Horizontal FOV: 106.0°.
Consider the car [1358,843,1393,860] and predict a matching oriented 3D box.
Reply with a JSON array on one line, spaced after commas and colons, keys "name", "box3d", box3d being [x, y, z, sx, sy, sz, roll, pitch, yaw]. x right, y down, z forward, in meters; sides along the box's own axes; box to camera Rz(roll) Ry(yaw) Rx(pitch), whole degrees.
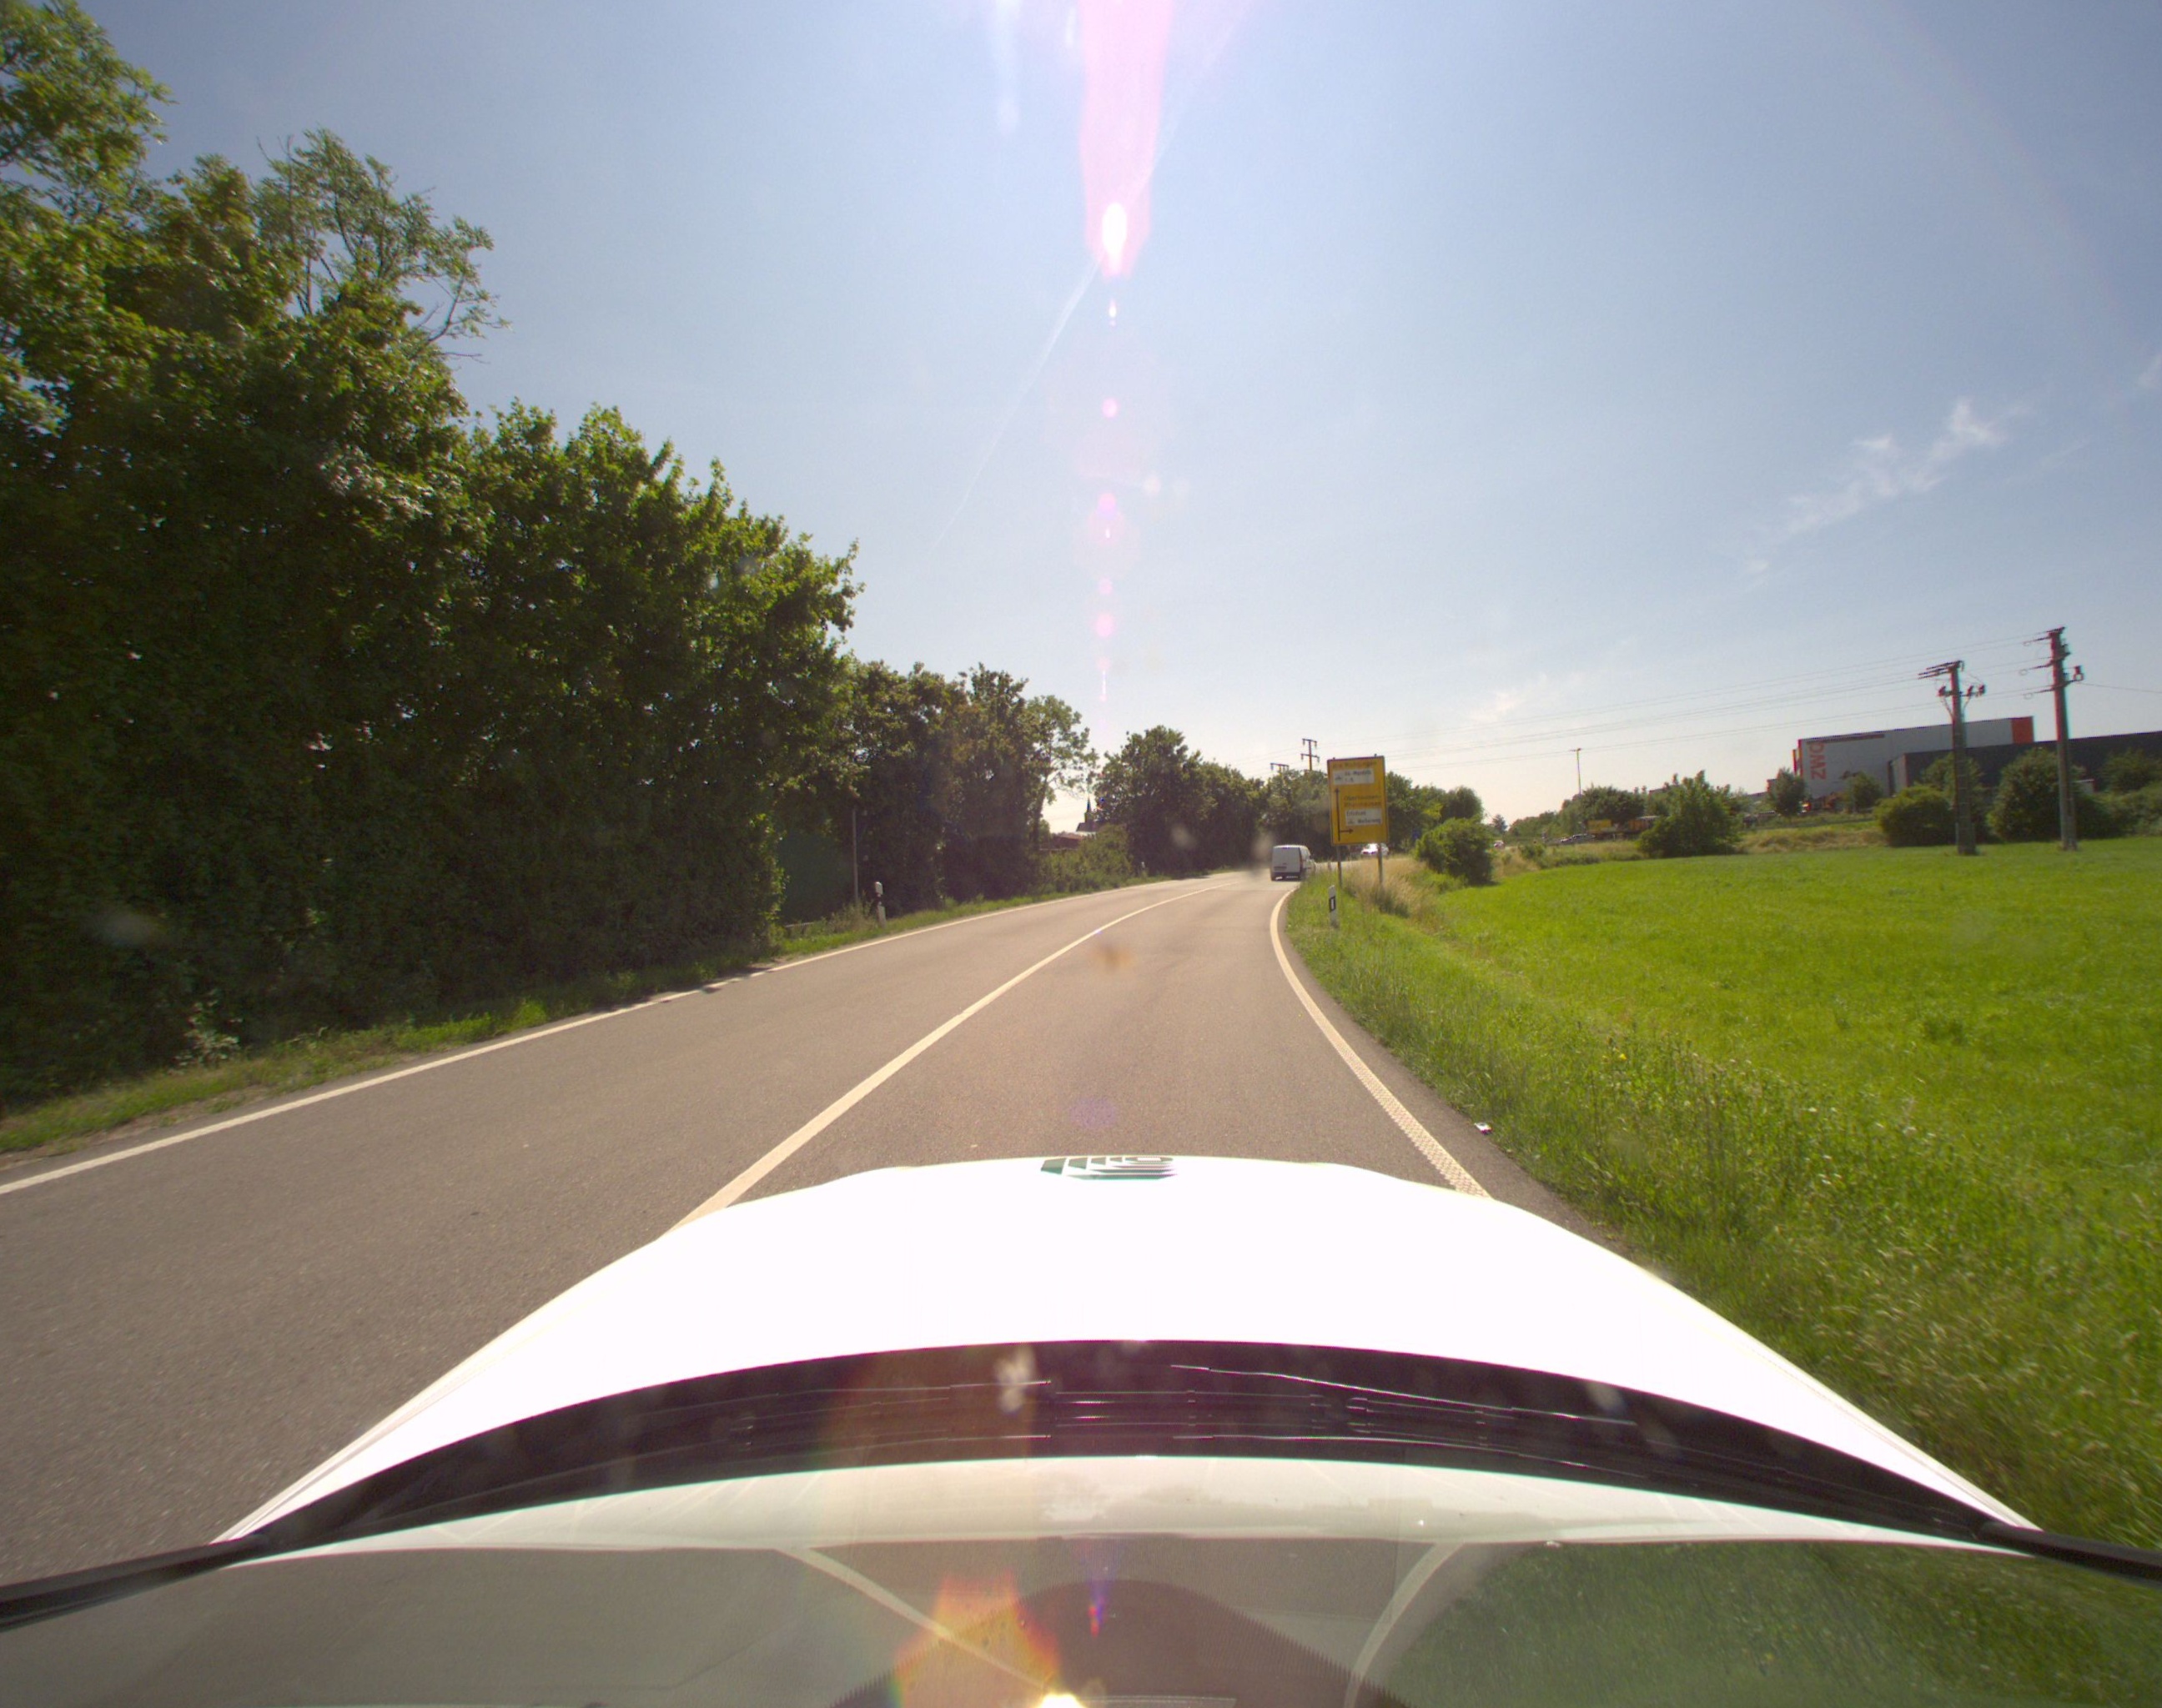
[{"name": "car", "box3d": [28.392, -0.263, 78.336, 1.837, 1.601, 4.808, 0, 1, 37]}]

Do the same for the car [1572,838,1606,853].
[{"name": "car", "box3d": [71.095, -1.169, 113.982, 3.948, 2.014, 2.013, -2, -2, 35]}]

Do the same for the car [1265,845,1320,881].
[{"name": "car", "box3d": [11.049, 0.440, 42.349, 1.886, 1.732, 3.845, -3, -1, 27]}]

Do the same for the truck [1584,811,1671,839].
[{"name": "truck", "box3d": [65.956, -3.478, 98.394, 8.762, 3.137, 3.102, -1, -2, -6]}]
